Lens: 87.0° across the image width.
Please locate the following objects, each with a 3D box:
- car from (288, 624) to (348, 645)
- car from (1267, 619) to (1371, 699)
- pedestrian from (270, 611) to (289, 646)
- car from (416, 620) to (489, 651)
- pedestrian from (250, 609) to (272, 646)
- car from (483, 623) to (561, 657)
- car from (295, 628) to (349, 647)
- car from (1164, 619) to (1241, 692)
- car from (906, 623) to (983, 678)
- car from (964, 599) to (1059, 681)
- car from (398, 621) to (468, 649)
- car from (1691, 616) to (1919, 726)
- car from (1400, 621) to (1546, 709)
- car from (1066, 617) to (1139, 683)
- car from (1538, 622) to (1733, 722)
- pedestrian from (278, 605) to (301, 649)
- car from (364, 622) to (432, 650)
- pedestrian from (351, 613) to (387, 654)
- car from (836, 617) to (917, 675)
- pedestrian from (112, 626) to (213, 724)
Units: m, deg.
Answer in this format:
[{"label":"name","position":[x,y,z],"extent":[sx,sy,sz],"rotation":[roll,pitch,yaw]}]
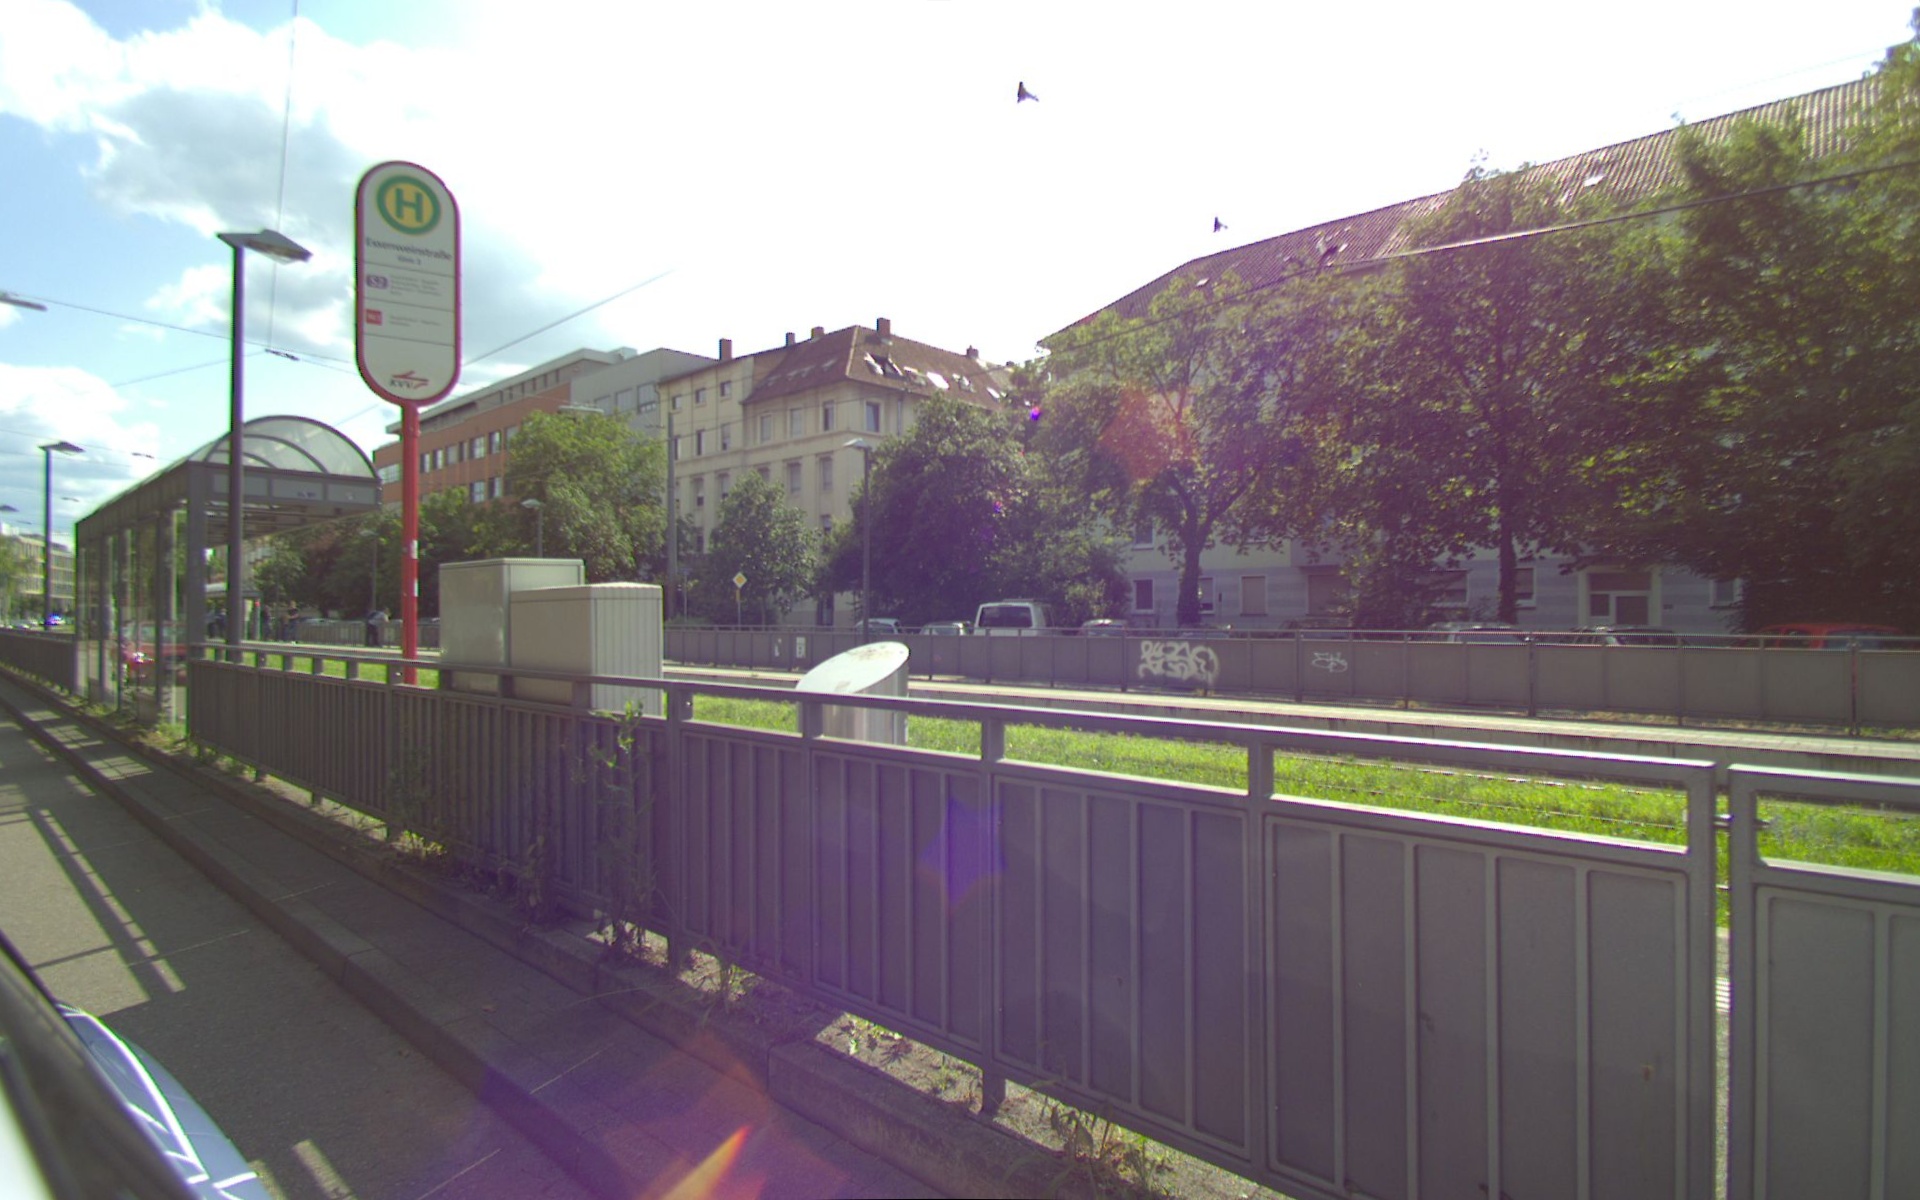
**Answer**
[{"label":"car","position":[-47.972,2.567,75.705],"extent":[1.631,1.508,3.993],"rotation":[-1,-1,6]},{"label":"car","position":[7.740,1.228,22.111],"extent":[1.632,1.591,3.652],"rotation":[-1,-1,12]},{"label":"pedestrian","position":[-32.733,1.373,48.682],"extent":[0.625,1.687,0.600],"rotation":[-1,-1,43]},{"label":"car","position":[-28.404,1.967,56.815],"extent":[1.811,1.652,4.132],"rotation":[0,-1,3]},{"label":"pedestrian","position":[-33.306,1.305,48.238],"extent":[0.599,1.767,0.626],"rotation":[0,-1,-7]},{"label":"car","position":[-21.543,1.951,49.985],"extent":[1.901,1.576,4.150],"rotation":[0,-1,2]},{"label":"car","position":[-45.816,2.683,72.727],"extent":[1.585,1.314,3.244],"rotation":[-1,-1,8]},{"label":"car","position":[5.685,1.246,23.968],"extent":[1.632,1.591,3.652],"rotation":[-1,-1,12]},{"label":"car","position":[-0.396,1.453,30.195],"extent":[1.591,1.497,3.988],"rotation":[-1,-1,9]},{"label":"car","position":[1.500,1.058,27.814],"extent":[2.029,2.086,3.937],"rotation":[-1,-1,12]},{"label":"car","position":[-30.535,2.009,58.775],"extent":[1.591,1.580,3.988],"rotation":[-1,-1,9]},{"label":"car","position":[13.826,1.066,16.552],"extent":[1.632,1.591,3.652],"rotation":[-1,-1,12]},{"label":"car","position":[9.852,1.172,19.743],"extent":[1.593,1.525,4.011],"rotation":[0,-1,13]},{"label":"car","position":[3.804,1.259,26.522],"extent":[1.701,1.591,3.937],"rotation":[-1,-1,11]},{"label":"car","position":[11.908,1.194,18.130],"extent":[1.632,1.591,3.652],"rotation":[-1,-1,12]},{"label":"pedestrian","position":[-29.822,1.194,45.004],"extent":[0.742,1.906,0.639],"rotation":[1,1,-45]},{"label":"car","position":[-34.721,2.212,62.656],"extent":[1.652,1.540,3.992],"rotation":[-2,0,6]},{"label":"pedestrian","position":[-22.891,1.286,39.222],"extent":[0.798,1.590,0.978],"rotation":[-1,-1,40]},{"label":"car","position":[-2.544,1.405,31.845],"extent":[1.805,1.652,3.992],"rotation":[-2,-1,6]},{"label":"pedestrian","position":[-9.107,0.841,11.586],"extent":[0.652,1.080,0.725],"rotation":[0,-2,-13]}]
